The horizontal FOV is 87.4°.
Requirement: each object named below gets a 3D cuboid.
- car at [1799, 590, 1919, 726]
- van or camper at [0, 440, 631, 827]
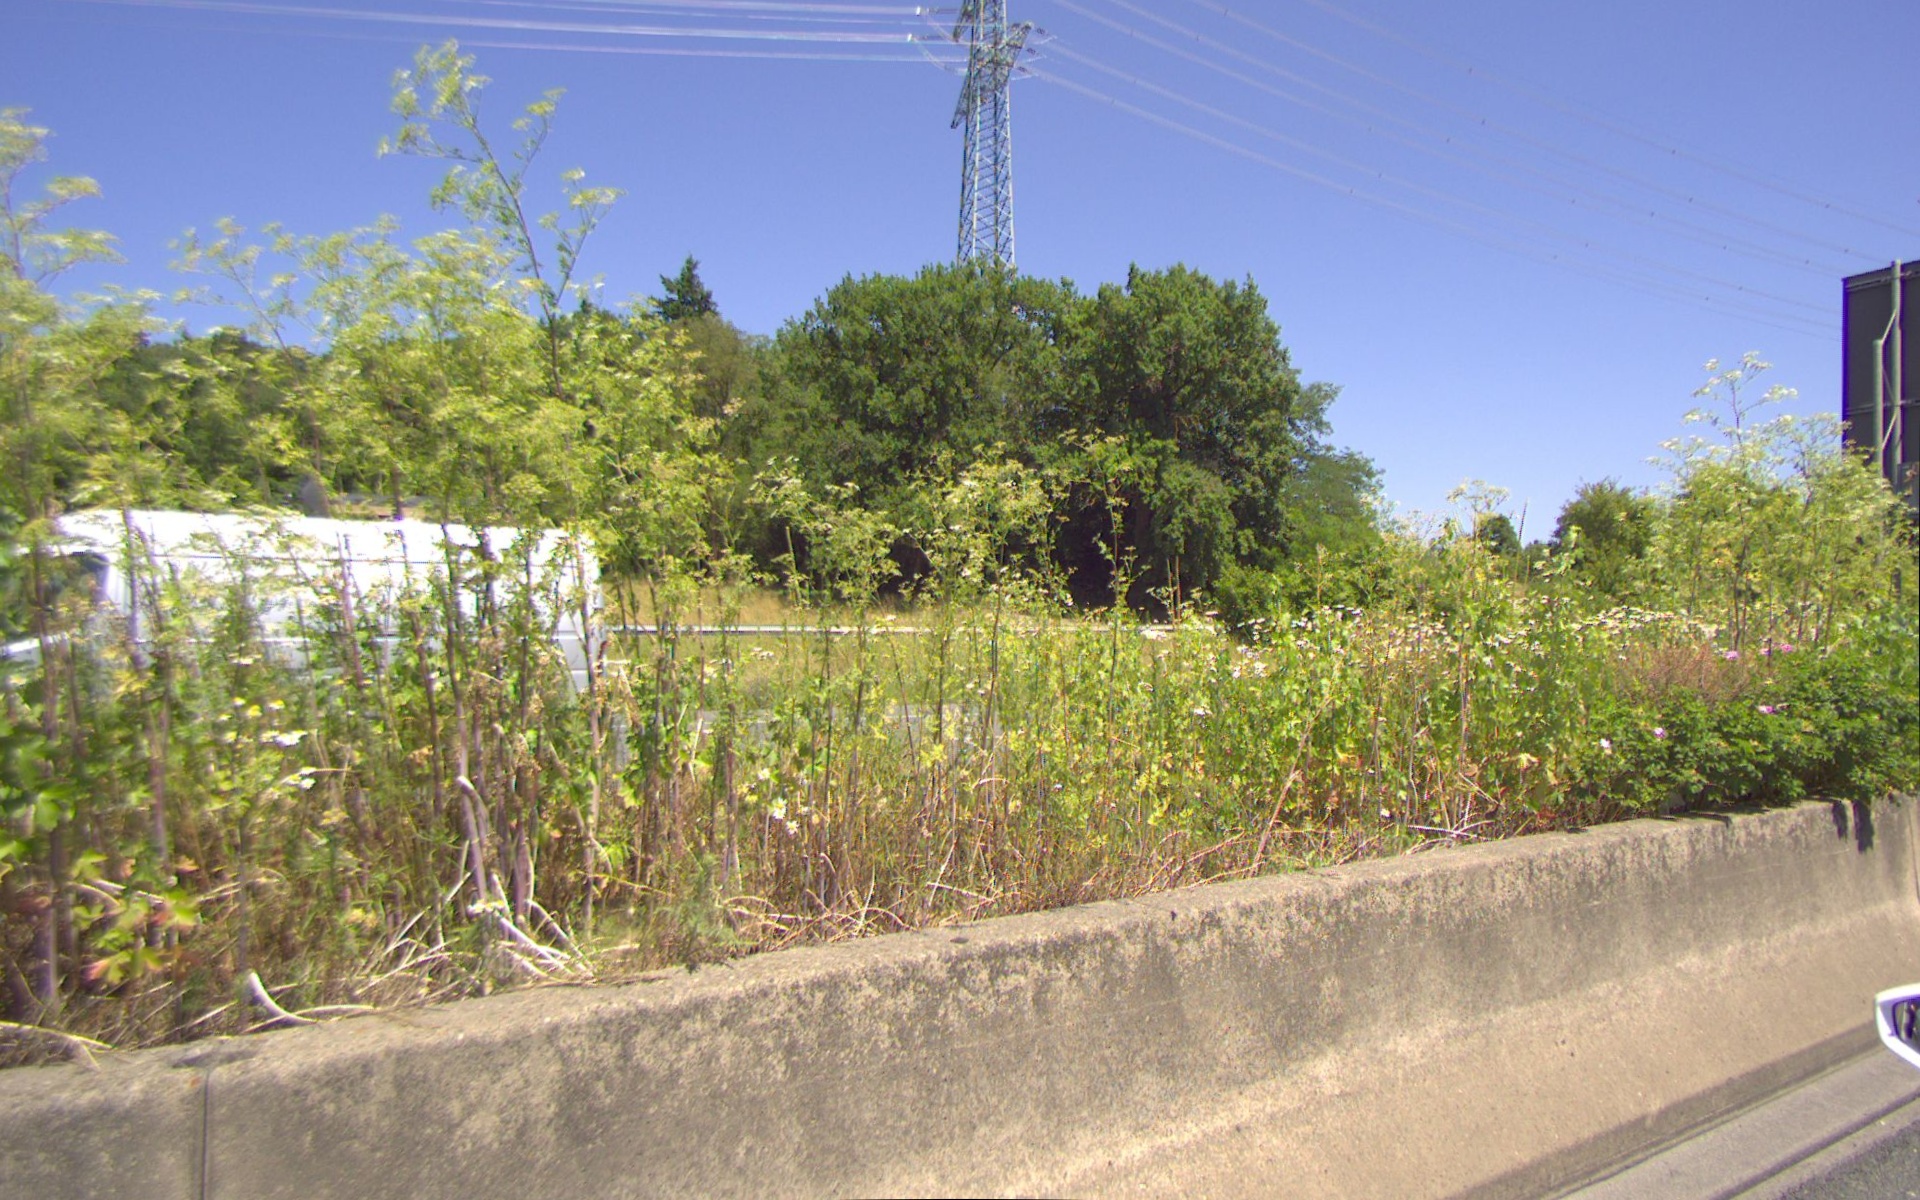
[{"bbox_3d":[17.095,1.006,17.805,4.547,2.175,1.984,2,-1,-30],"label":"car"},{"bbox_3d":[-5.720,0.329,9.548,4.594,2.898,2.039,2,-1,-30],"label":"van or camper"}]
